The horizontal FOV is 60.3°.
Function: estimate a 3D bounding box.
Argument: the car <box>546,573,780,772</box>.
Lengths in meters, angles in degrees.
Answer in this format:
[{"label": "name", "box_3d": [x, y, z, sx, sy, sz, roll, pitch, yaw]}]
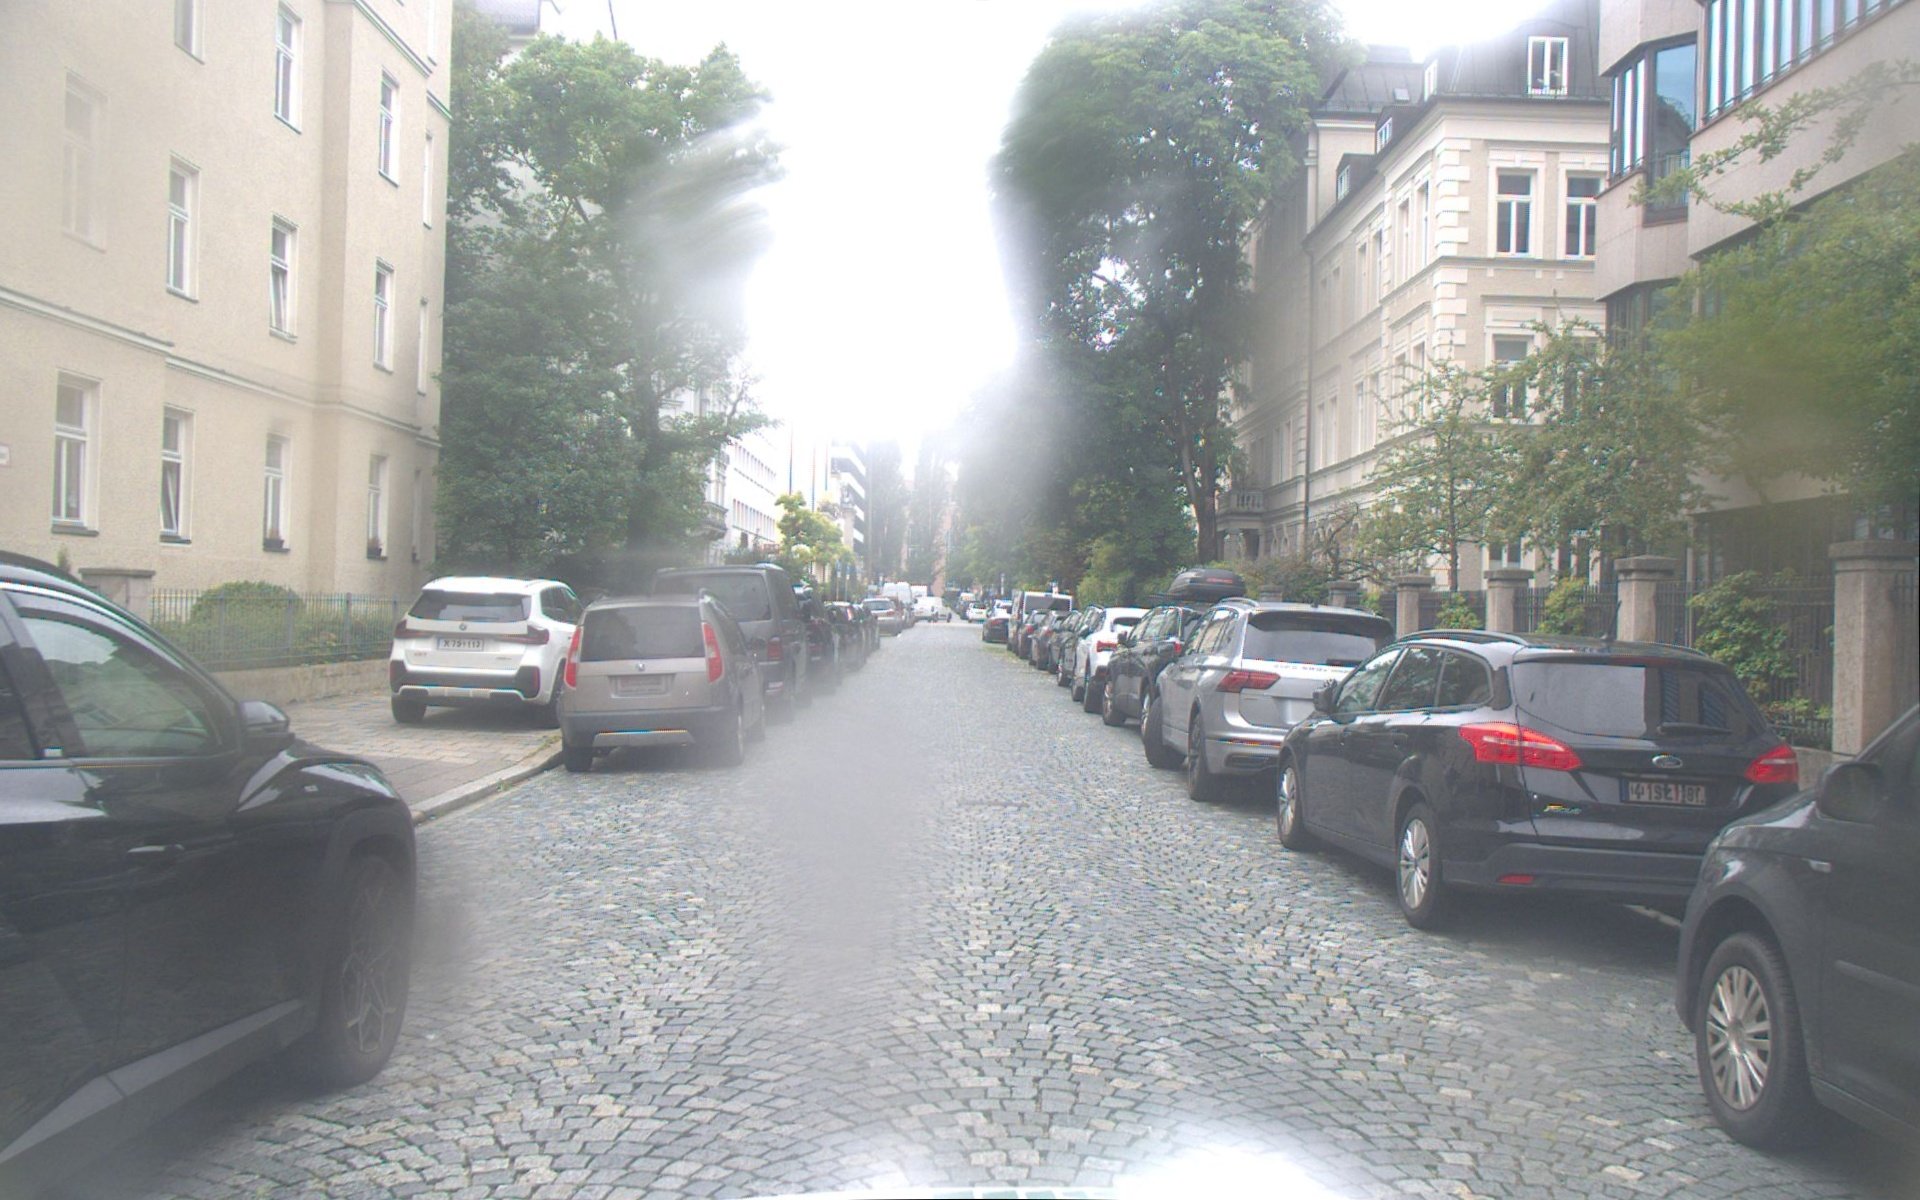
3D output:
[{"label": "car", "box_3d": [-2.916, 0.650, 17.124, 1.828, 1.765, 4.401, -1, 0, -3]}]

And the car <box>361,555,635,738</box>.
[{"label": "car", "box_3d": [-5.269, 0.496, 19.552, 1.906, 1.765, 4.656, 4, 0, -1]}]

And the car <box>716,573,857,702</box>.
[{"label": "car", "box_3d": [-2.880, 0.595, 28.460, 1.953, 1.950, 5.175, -2, 0, -2]}]

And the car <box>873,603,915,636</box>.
[{"label": "car", "box_3d": [-3.594, 1.064, 91.020, 1.834, 1.607, 4.209, 4, 0, 3]}]

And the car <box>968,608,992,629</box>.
[{"label": "car", "box_3d": [1.513, 1.413, 127.160, 1.753, 1.547, 4.000, 2, 0, 0]}]

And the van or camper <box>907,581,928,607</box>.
[{"label": "van or camper", "box_3d": [-4.902, -0.646, 190.521, 2.210, 2.790, 5.097, 2, 0, 0]}]

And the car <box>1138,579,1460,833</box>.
[{"label": "car", "box_3d": [2.788, 0.808, 14.751, 1.835, 1.765, 4.892, 4, 0, 1]}]

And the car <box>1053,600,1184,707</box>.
[{"label": "car", "box_3d": [2.854, 0.926, 30.755, 1.835, 1.698, 4.656, 4, 0, 0]}]

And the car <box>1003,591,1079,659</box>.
[{"label": "car", "box_3d": [2.564, 0.766, 53.339, 1.836, 1.961, 5.161, 4, 0, -3]}]

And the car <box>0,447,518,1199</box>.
[{"label": "car", "box_3d": [-2.679, 0.645, 4.006, 1.878, 1.765, 4.755, -2, 0, 0]}]

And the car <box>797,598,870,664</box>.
[{"label": "car", "box_3d": [-2.970, 0.710, 39.158, 1.629, 1.469, 4.168, 1, 0, -4]}]

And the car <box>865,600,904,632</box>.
[{"label": "car", "box_3d": [-3.623, 0.767, 79.248, 1.835, 1.476, 4.205, 0, 0, -3]}]

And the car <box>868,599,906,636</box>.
[{"label": "car", "box_3d": [-3.734, 0.883, 85.514, 1.835, 1.807, 4.121, -2, 0, -2]}]

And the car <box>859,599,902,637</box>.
[{"label": "car", "box_3d": [-3.508, 0.791, 73.047, 1.836, 1.607, 4.253, -1, 0, -3]}]

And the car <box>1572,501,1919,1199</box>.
[{"label": "car", "box_3d": [3.254, 0.743, 3.807, 1.753, 1.827, 4.507, 5, 0, -2]}]

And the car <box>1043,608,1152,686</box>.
[{"label": "car", "box_3d": [2.959, 0.987, 36.368, 1.661, 1.465, 4.057, 4, 0, -5]}]

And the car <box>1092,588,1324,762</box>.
[{"label": "car", "box_3d": [2.936, 0.834, 20.646, 1.836, 1.765, 4.745, 5, 0, -3]}]

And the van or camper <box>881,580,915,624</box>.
[{"label": "van or camper", "box_3d": [-3.957, 0.147, 105.966, 1.953, 2.699, 4.000, -1, 0, 0]}]

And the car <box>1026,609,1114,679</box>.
[{"label": "car", "box_3d": [2.650, 1.042, 40.755, 1.679, 1.498, 4.267, 4, 0, -2]}]

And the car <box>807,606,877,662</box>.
[{"label": "car", "box_3d": [-3.257, 0.910, 46.340, 1.747, 1.442, 4.495, -2, 0, -2]}]

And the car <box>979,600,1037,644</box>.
[{"label": "car", "box_3d": [1.859, 0.840, 65.498, 1.836, 1.529, 4.509, 4, 0, -3]}]

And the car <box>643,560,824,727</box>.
[{"label": "car", "box_3d": [-2.872, 0.517, 21.936, 1.835, 1.951, 4.826, -1, 0, -2]}]

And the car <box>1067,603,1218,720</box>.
[{"label": "car", "box_3d": [2.740, 0.876, 25.776, 1.835, 1.516, 4.617, 4, 0, 1]}]

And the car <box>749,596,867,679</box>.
[{"label": "car", "box_3d": [-3.051, 0.724, 34.130, 1.938, 1.588, 5.017, 0, 0, 0]}]

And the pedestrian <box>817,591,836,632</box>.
[{"label": "pedestrian", "box_3d": [-6.520, 0.574, 80.784, 0.776, 1.951, 0.758, 3, -1, -1]}]

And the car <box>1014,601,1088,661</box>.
[{"label": "car", "box_3d": [2.587, 0.861, 47.840, 1.800, 1.516, 4.421, 4, 0, 0]}]

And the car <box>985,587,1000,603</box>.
[{"label": "car", "box_3d": [4.480, -0.656, 230.123, 1.953, 2.049, 3.999, 2, -1, 0]}]

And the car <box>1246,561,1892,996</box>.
[{"label": "car", "box_3d": [3.123, 0.808, 9.695, 1.836, 1.764, 4.657, 5, 0, -1]}]

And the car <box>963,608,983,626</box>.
[{"label": "car", "box_3d": [1.139, 1.491, 147.659, 1.753, 1.547, 4.000, 2, 0, 0]}]

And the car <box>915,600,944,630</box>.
[{"label": "car", "box_3d": [-2.208, 1.093, 121.220, 1.953, 2.049, 4.000, 2, 0, 0]}]
